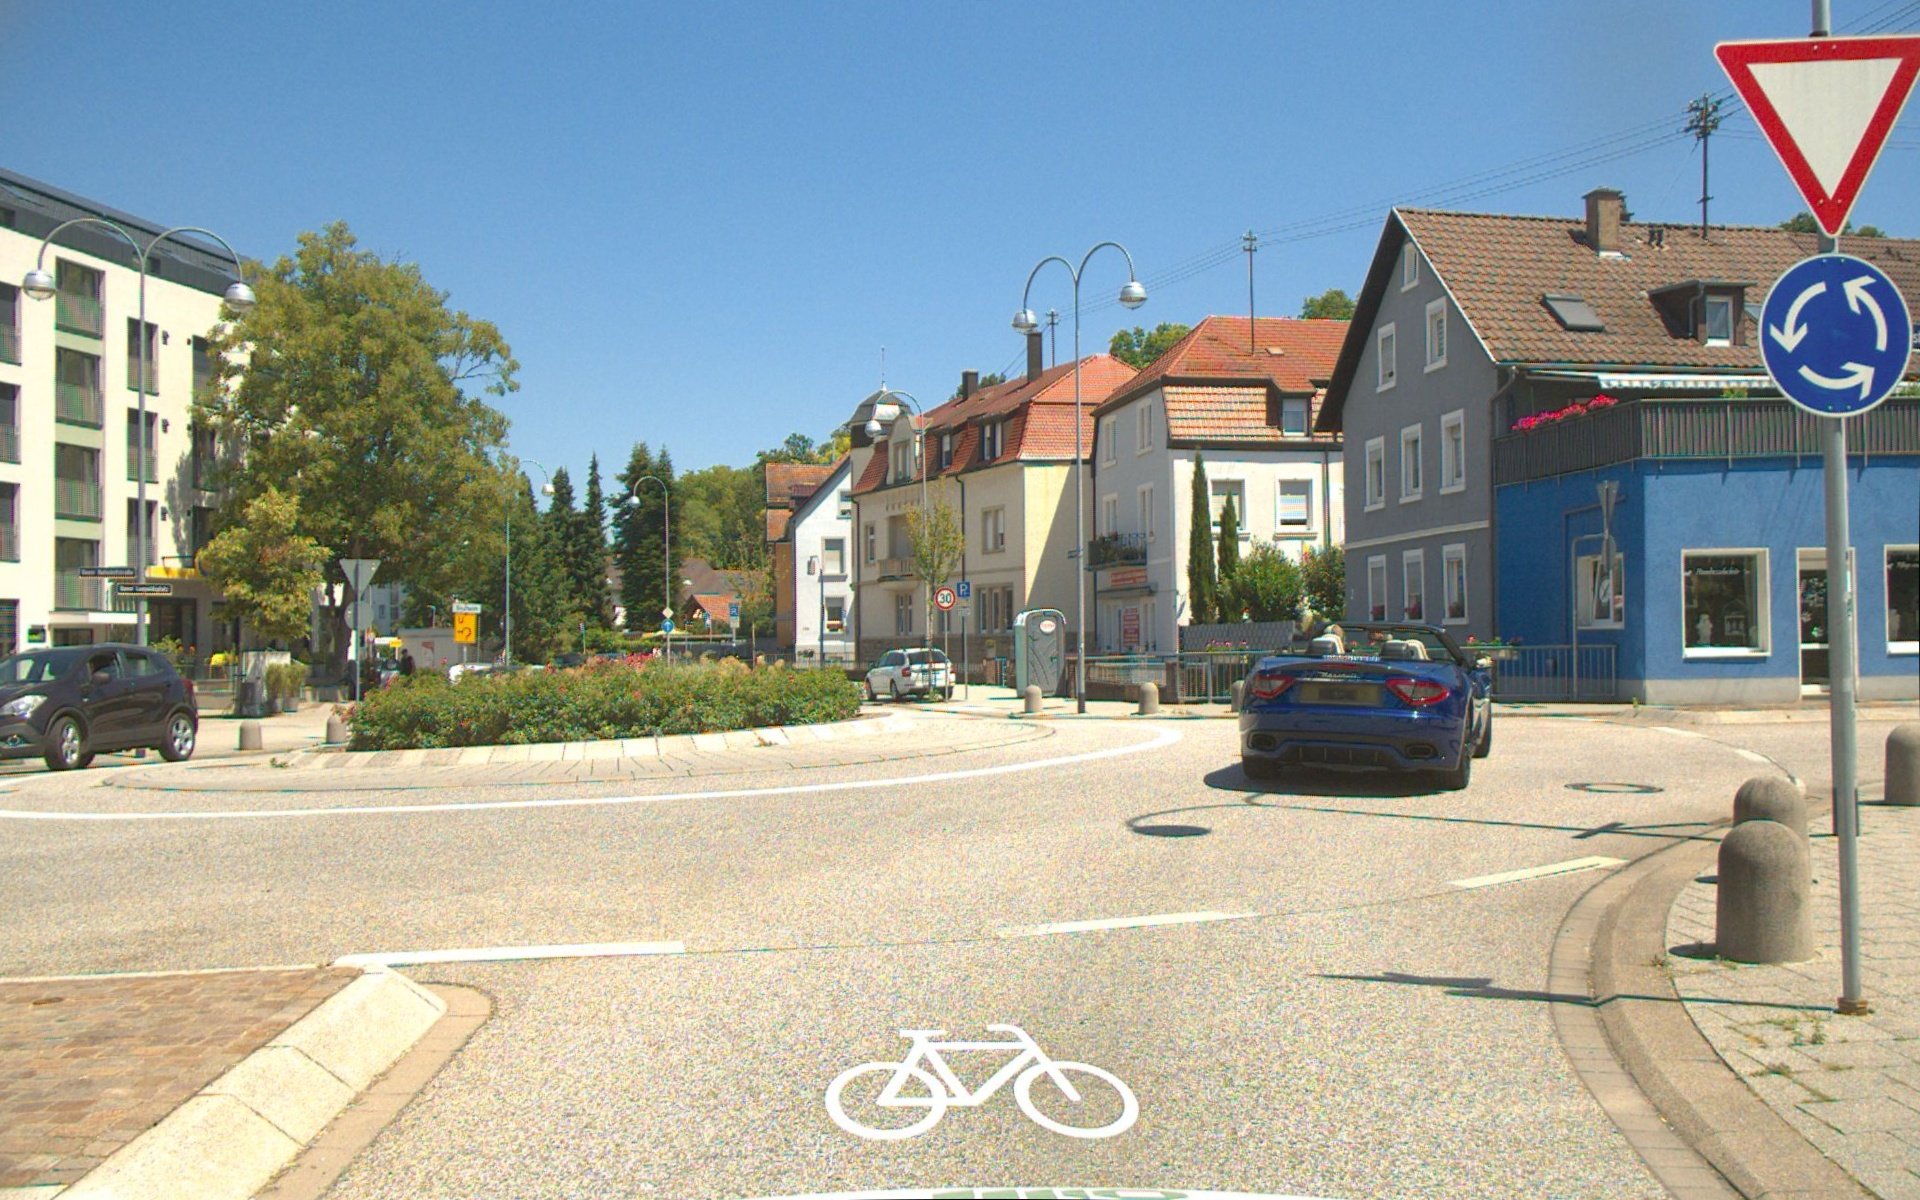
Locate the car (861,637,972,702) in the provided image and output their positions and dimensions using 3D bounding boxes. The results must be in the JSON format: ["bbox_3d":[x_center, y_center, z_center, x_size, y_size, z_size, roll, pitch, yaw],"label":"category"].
[{"bbox_3d":[-1.319,1.996,48.038,1.964,1.611,4.263,-5,-1,-19],"label":"car"}]

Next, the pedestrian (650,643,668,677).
[{"bbox_3d":[-16.516,3.303,90.665,0.832,1.846,0.545,1,-1,-24],"label":"pedestrian"}]

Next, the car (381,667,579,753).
[{"bbox_3d":[-9.515,2.158,33.185,1.885,1.406,4.291,-4,-1,13],"label":"car"}]

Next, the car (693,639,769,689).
[{"bbox_3d":[-9.692,2.665,69.631,1.969,1.898,4.251,1,0,-26],"label":"car"}]

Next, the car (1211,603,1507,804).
[{"bbox_3d":[3.790,0.790,15.066,1.936,1.422,4.626,1,1,22],"label":"car"}]

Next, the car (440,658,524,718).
[{"bbox_3d":[-13.722,2.500,47.666,1.762,1.618,3.992,1,-2,-8],"label":"car"}]

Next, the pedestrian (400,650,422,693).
[{"bbox_3d":[-19.635,2.542,59.128,0.519,1.511,0.556,-2,-2,10],"label":"pedestrian"}]

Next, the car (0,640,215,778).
[{"bbox_3d":[-12.116,1.423,22.161,1.951,1.589,4.169,-4,-1,7],"label":"car"}]

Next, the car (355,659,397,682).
[{"bbox_3d":[-37.248,4.522,105.415,1.527,1.403,3.950,0,-2,-35],"label":"car"}]
